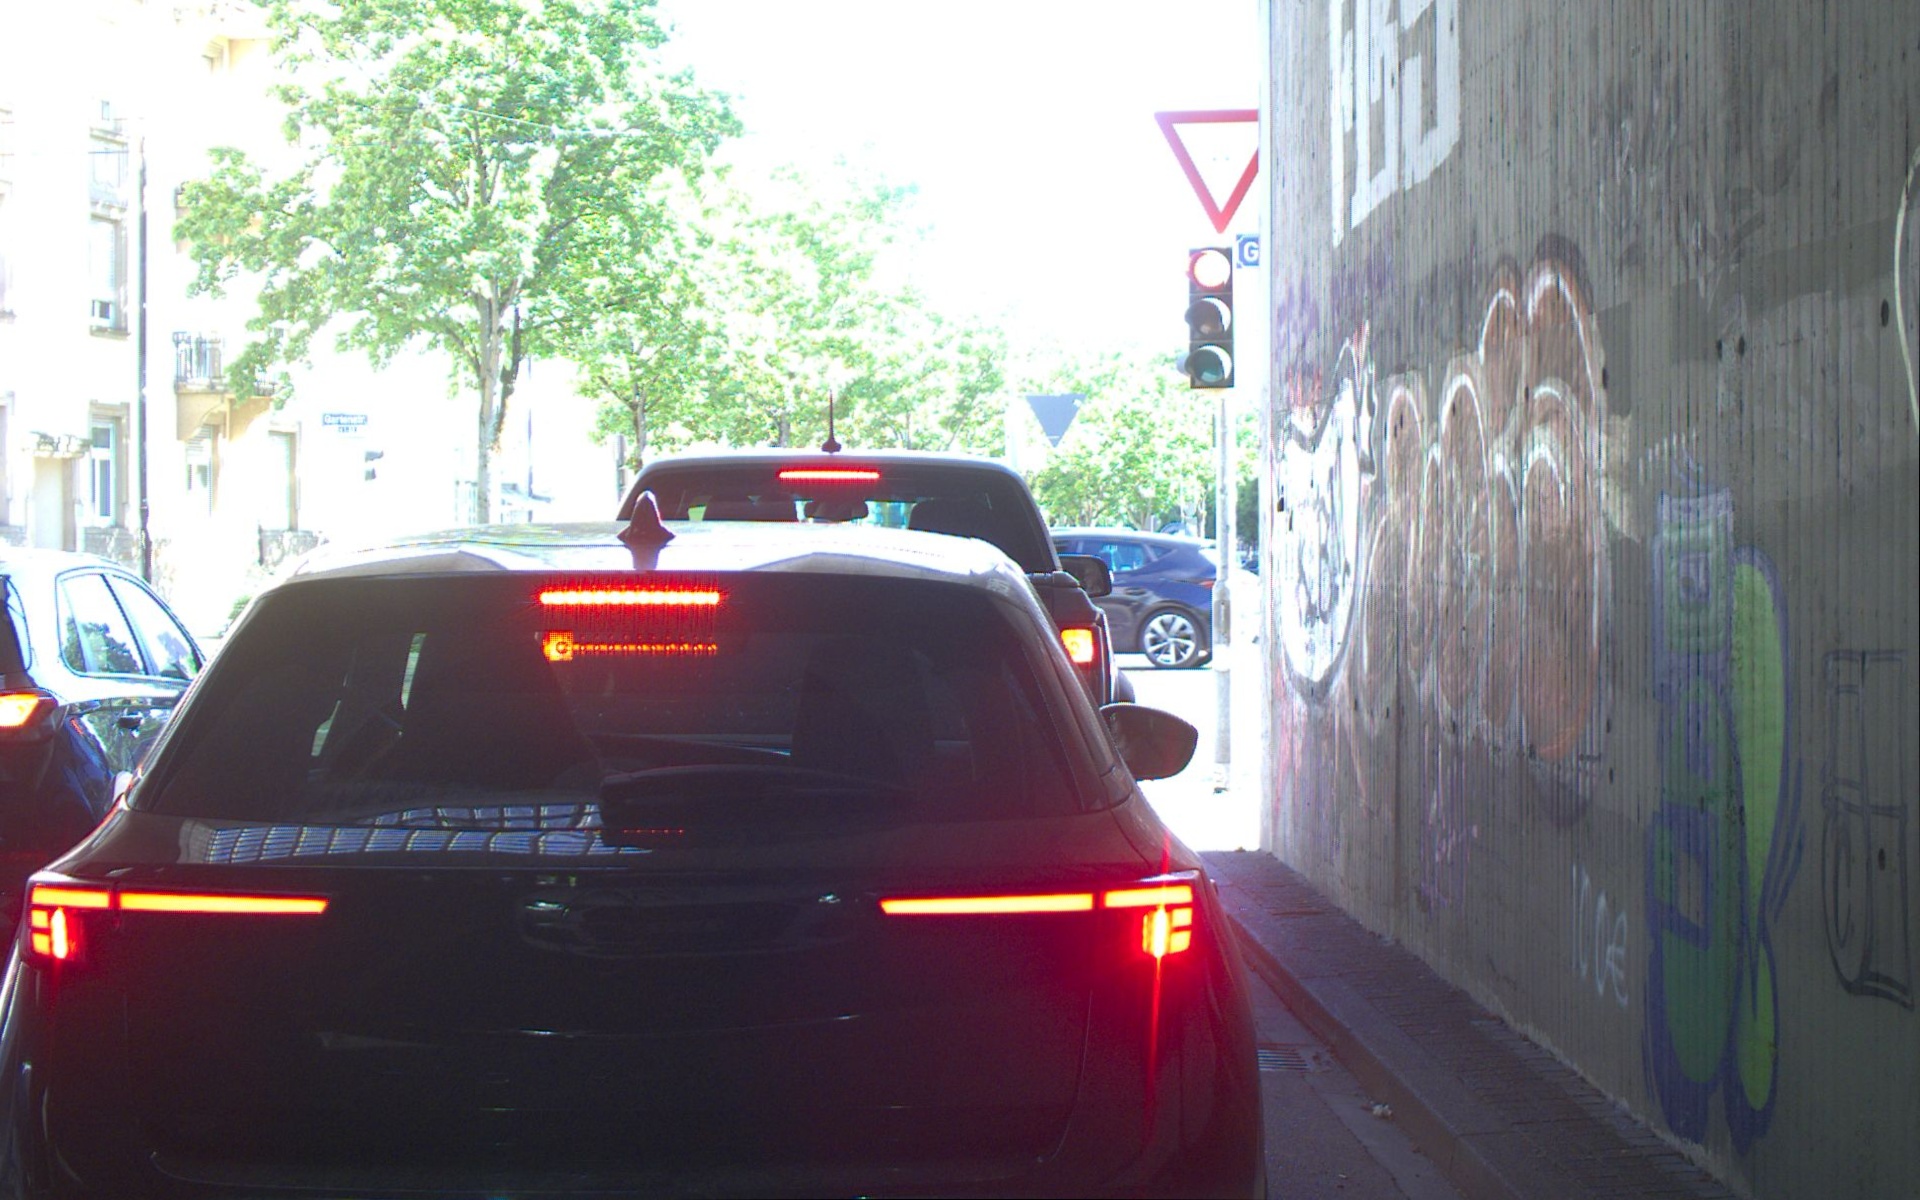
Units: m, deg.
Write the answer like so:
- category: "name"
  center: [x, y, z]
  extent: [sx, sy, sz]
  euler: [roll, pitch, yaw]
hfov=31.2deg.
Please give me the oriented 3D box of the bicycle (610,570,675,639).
- category: "bicycle"
  center: [-5.039, 0.068, 54.645]
  extent: [0.626, 1.064, 1.688]
  euler: [1, 1, 9]

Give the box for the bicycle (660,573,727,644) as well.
- category: "bicycle"
  center: [-4.036, 0.120, 52.146]
  extent: [0.626, 1.064, 1.688]
  euler: [1, 1, 9]

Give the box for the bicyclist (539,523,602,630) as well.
- category: "bicyclist"
  center: [-5.839, -0.356, 51.574]
  extent: [0.729, 1.576, 0.814]
  euler: [1, 0, 9]

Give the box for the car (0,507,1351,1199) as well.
- category: "car"
  center: [-0.494, 0.624, 6.103]
  extent: [1.882, 1.532, 3.964]
  euler: [0, 1, -1]

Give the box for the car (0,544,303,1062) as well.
- category: "car"
  center: [-3.495, 0.540, 11.817]
  extent: [1.779, 1.442, 4.179]
  euler: [1, 1, -2]

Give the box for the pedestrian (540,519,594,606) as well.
- category: "pedestrian"
  center: [-9.179, -0.883, 80.309]
  extent: [0.992, 2.007, 1.088]
  euler: [0, 1, 8]

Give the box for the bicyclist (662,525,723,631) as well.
- category: "bicyclist"
  center: [-4.050, -0.336, 52.119]
  extent: [0.729, 1.576, 0.814]
  euler: [1, 0, 9]

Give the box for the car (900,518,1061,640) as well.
- category: "car"
  center: [0.298, -0.237, 44.206]
  extent: [1.968, 1.492, 3.896]
  euler: [0, -1, 1]

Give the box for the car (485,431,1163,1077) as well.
- category: "car"
  center: [-0.414, 0.407, 11.924]
  extent: [1.945, 1.853, 3.964]
  euler: [0, 1, -1]

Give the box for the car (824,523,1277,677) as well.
- category: "car"
  center: [0.964, -0.025, 36.072]
  extent: [4.389, 1.546, 1.881]
  euler: [0, 1, 19]

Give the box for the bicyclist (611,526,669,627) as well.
- category: "bicyclist"
  center: [-5.062, -0.369, 54.419]
  extent: [0.729, 1.576, 0.814]
  euler: [1, 0, 9]

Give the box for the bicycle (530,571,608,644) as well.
- category: "bicycle"
  center: [-5.857, 0.100, 51.548]
  extent: [0.732, 1.064, 1.688]
  euler: [1, 1, 9]
